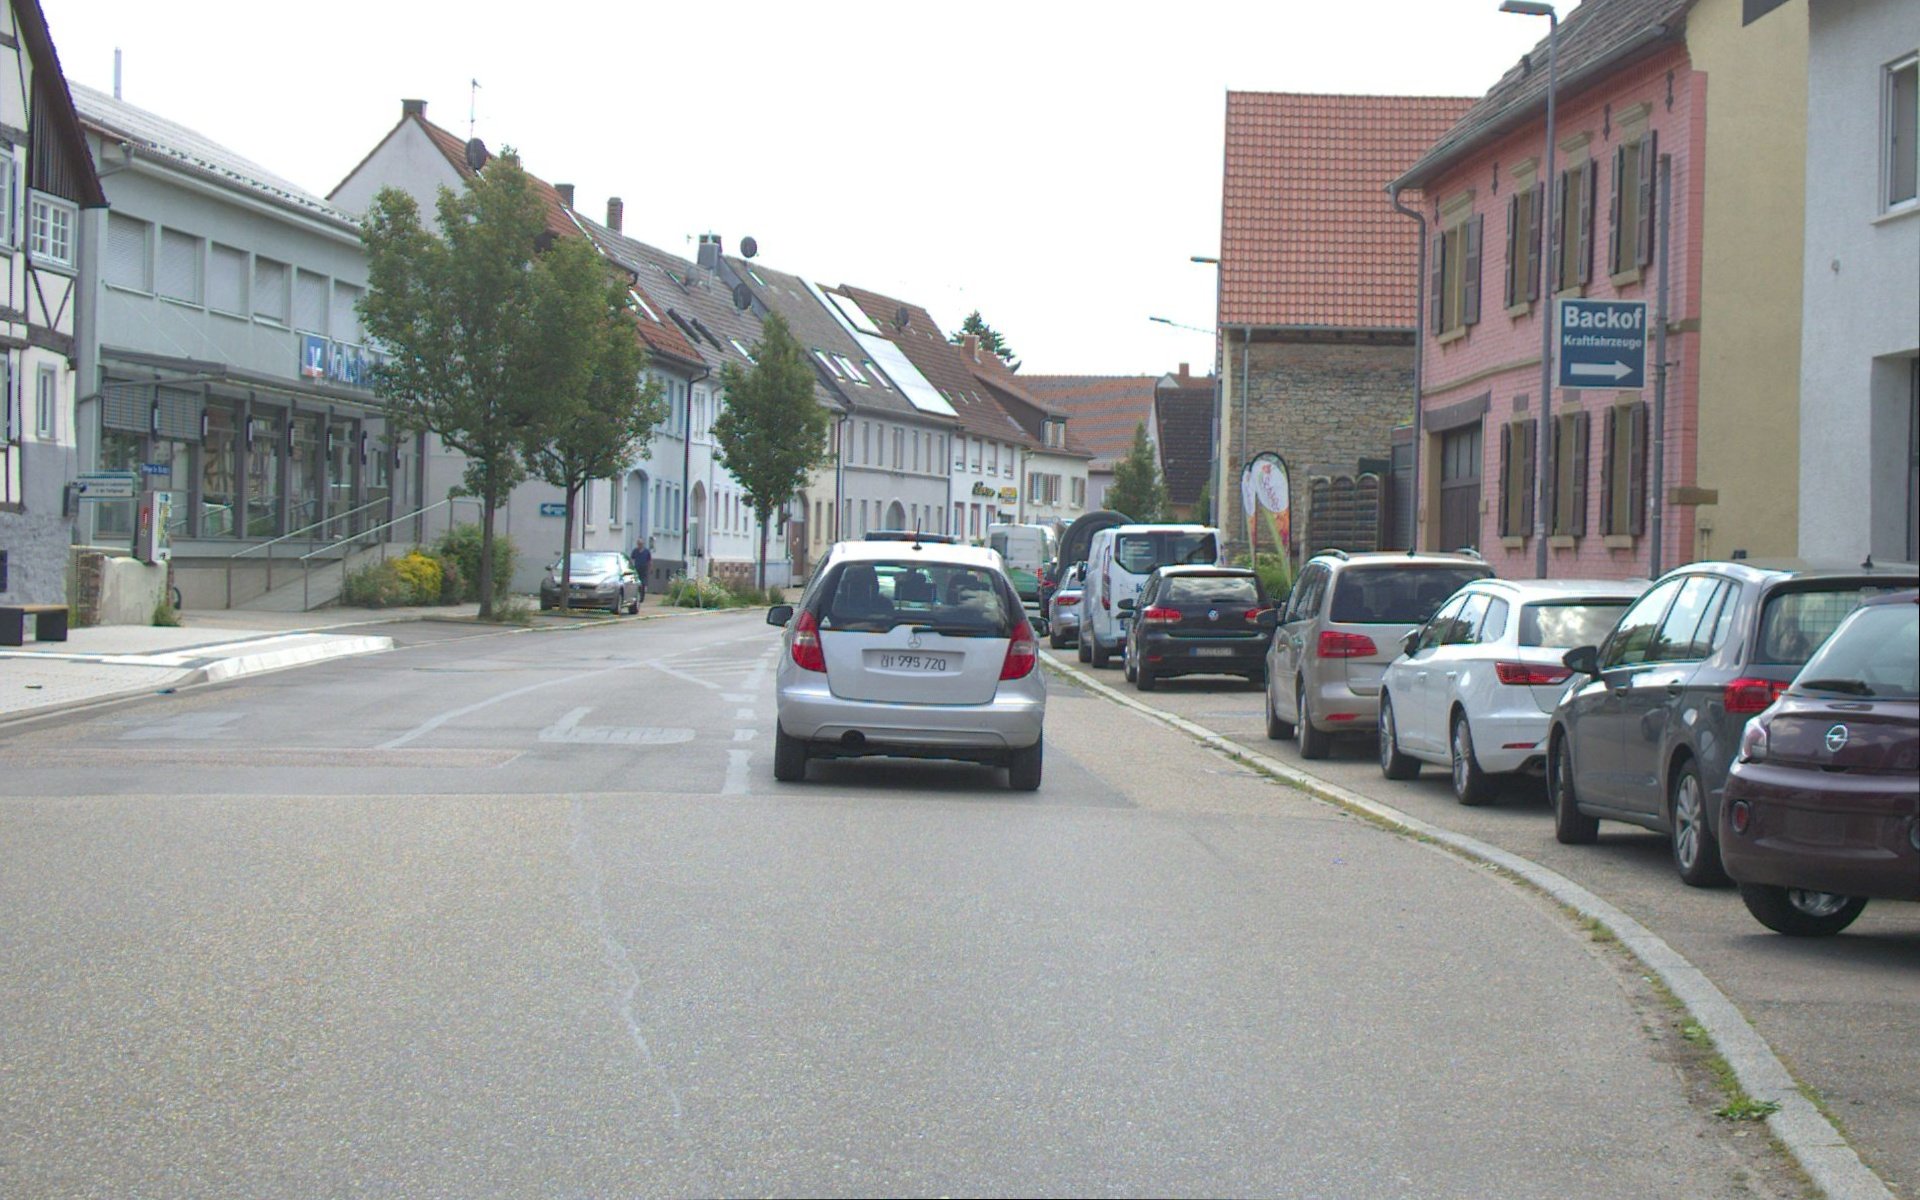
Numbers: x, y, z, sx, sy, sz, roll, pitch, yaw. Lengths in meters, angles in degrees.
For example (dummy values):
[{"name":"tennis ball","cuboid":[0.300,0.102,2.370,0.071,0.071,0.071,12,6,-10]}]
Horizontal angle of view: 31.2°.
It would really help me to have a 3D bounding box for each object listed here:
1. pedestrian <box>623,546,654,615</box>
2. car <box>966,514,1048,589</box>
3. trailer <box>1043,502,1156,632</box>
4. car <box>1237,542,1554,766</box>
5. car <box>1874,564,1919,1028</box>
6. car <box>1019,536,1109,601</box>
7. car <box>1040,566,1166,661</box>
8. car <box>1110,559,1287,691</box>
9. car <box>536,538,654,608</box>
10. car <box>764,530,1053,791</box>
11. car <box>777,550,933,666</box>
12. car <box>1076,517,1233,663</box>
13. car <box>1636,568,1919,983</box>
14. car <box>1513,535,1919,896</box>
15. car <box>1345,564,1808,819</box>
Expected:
[{"name":"pedestrian","cuboid":[-8.394,-0.499,89.823,0.739,1.795,0.642,1,0,1]},{"name":"car","cuboid":[1.460,-1.457,104.814,2.236,2.215,3.999,1,0,4]},{"name":"trailer","cuboid":[2.589,-0.627,64.548,1.845,2.346,3.590,1,1,-1]},{"name":"car","cuboid":[3.512,0.383,28.486,1.993,1.675,4.323,1,1,-1]},{"name":"car","cuboid":[4.682,0.668,11.053,2.778,1.499,1.878,1,1,-24]},{"name":"car","cuboid":[2.507,-0.784,83.735,1.993,1.554,4.000,0,1,-1]},{"name":"car","cuboid":[2.420,0.201,59.132,1.875,1.476,4.675,2,1,-1]},{"name":"car","cuboid":[2.849,0.264,41.819,1.774,1.490,4.162,1,1,-1]},{"name":"car","cuboid":[-8.155,-0.618,77.225,1.805,1.455,4.157,2,1,5]},{"name":"car","cuboid":[-0.336,0.369,23.741,1.769,1.589,4.000,2,0,0]},{"name":"car","cuboid":[-1.378,0.070,45.707,1.945,1.402,4.000,2,1,-1]},{"name":"car","cuboid":[2.746,-0.170,49.434,1.892,1.975,4.931,-1,1,-1]},{"name":"car","cuboid":[4.613,0.657,13.962,3.226,1.499,1.827,1,1,-30]},{"name":"car","cuboid":[4.116,0.499,17.700,1.662,1.619,4.272,1,1,-2]},{"name":"car","cuboid":[4.036,0.543,23.302,1.993,1.512,4.372,1,1,-5]}]
